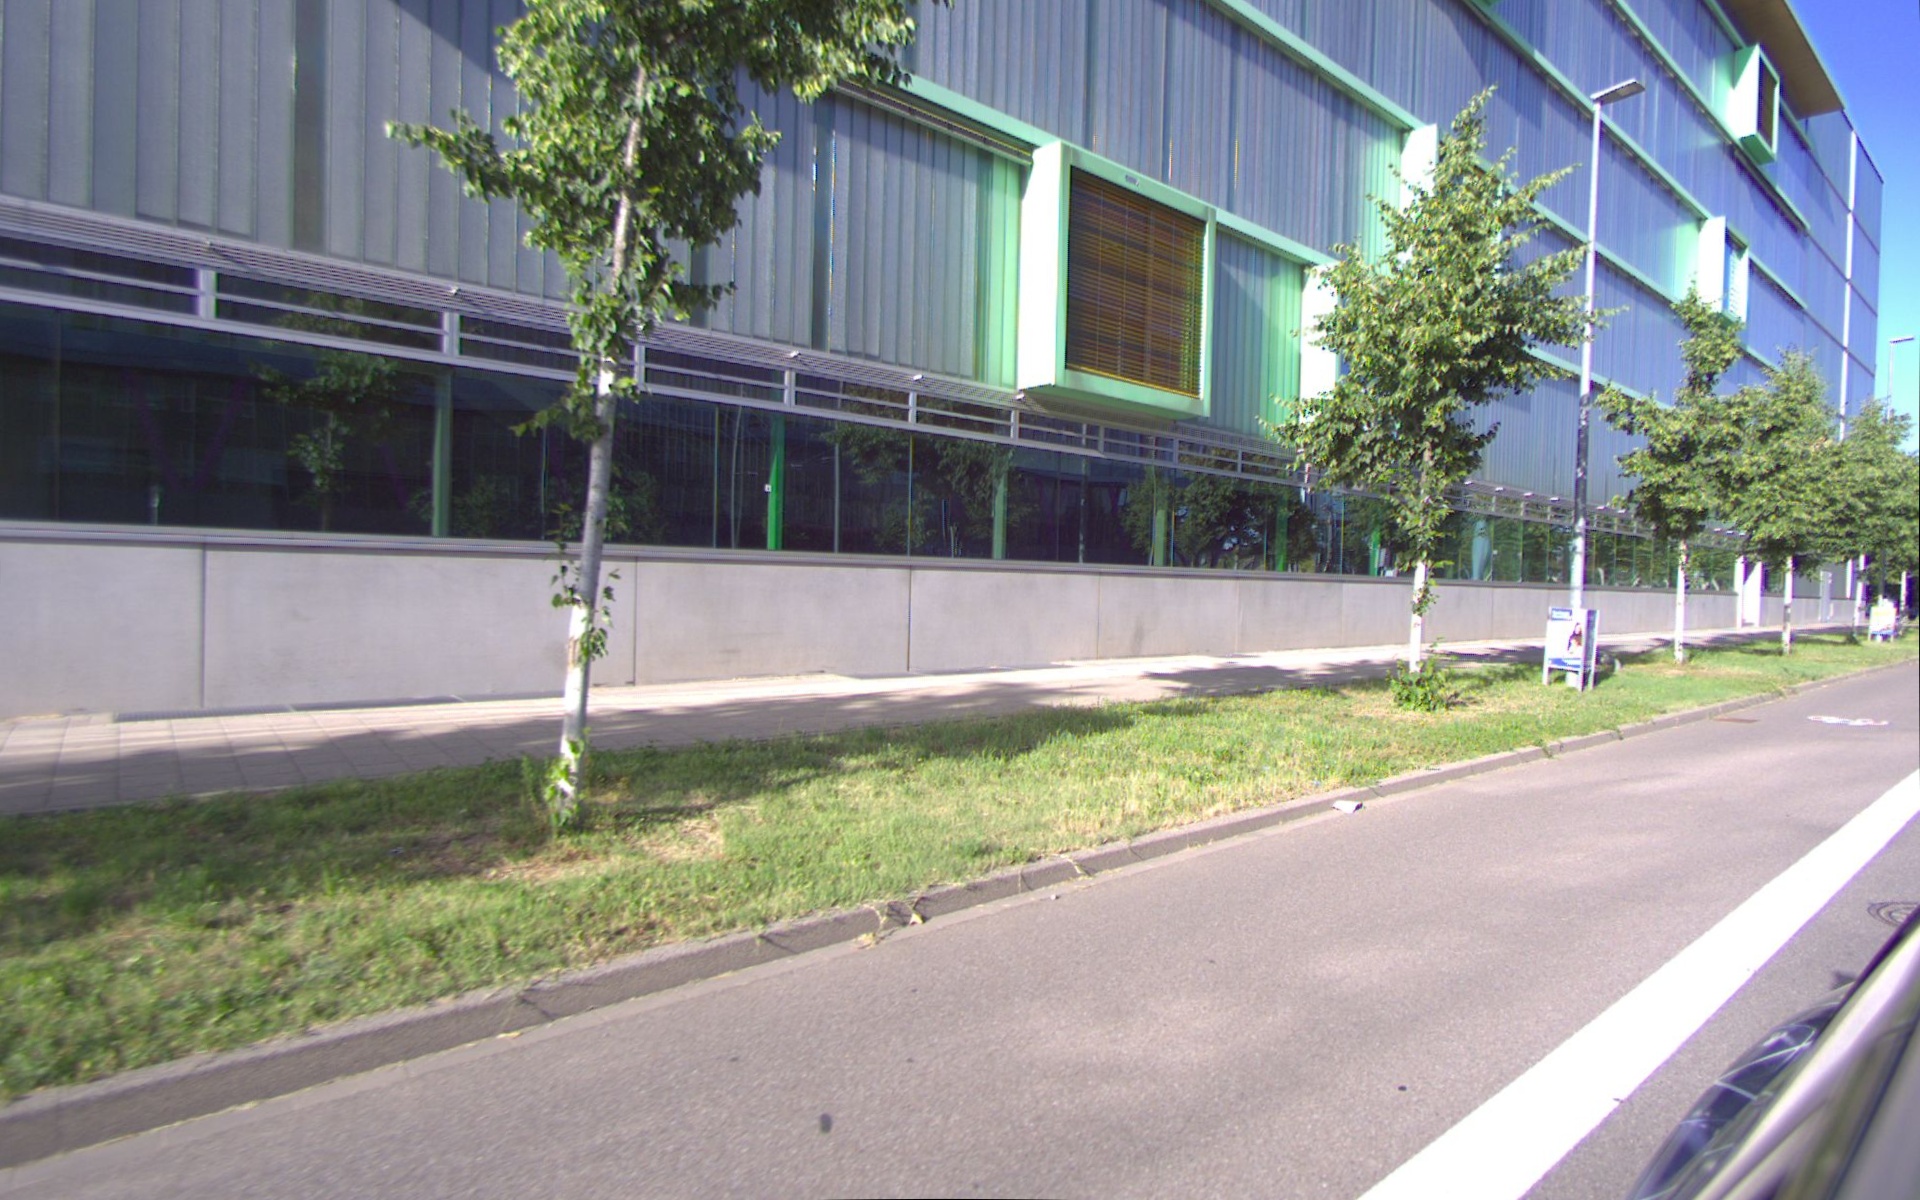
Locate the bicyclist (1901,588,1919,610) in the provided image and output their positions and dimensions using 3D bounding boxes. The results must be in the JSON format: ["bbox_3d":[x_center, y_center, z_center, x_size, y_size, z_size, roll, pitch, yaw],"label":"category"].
[{"bbox_3d":[81.132,-0.089,86.415,0.815,1.759,0.879,1,1,-28],"label":"bicyclist"}]

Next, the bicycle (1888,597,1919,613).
[{"bbox_3d":[80.325,0.436,86.001,0.540,1.218,2.108,2,1,-25],"label":"bicycle"}]

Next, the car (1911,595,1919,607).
[{"bbox_3d":[127.424,0.171,133.790,4.572,1.547,1.998,0,4,-40],"label":"car"}]

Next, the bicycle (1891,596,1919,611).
[{"bbox_3d":[81.106,0.273,86.499,0.540,1.218,2.107,1,1,-28],"label":"bicycle"}]

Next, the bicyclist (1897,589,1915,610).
[{"bbox_3d":[80.339,-0.046,85.962,0.777,1.674,0.879,2,1,-26],"label":"bicyclist"}]
